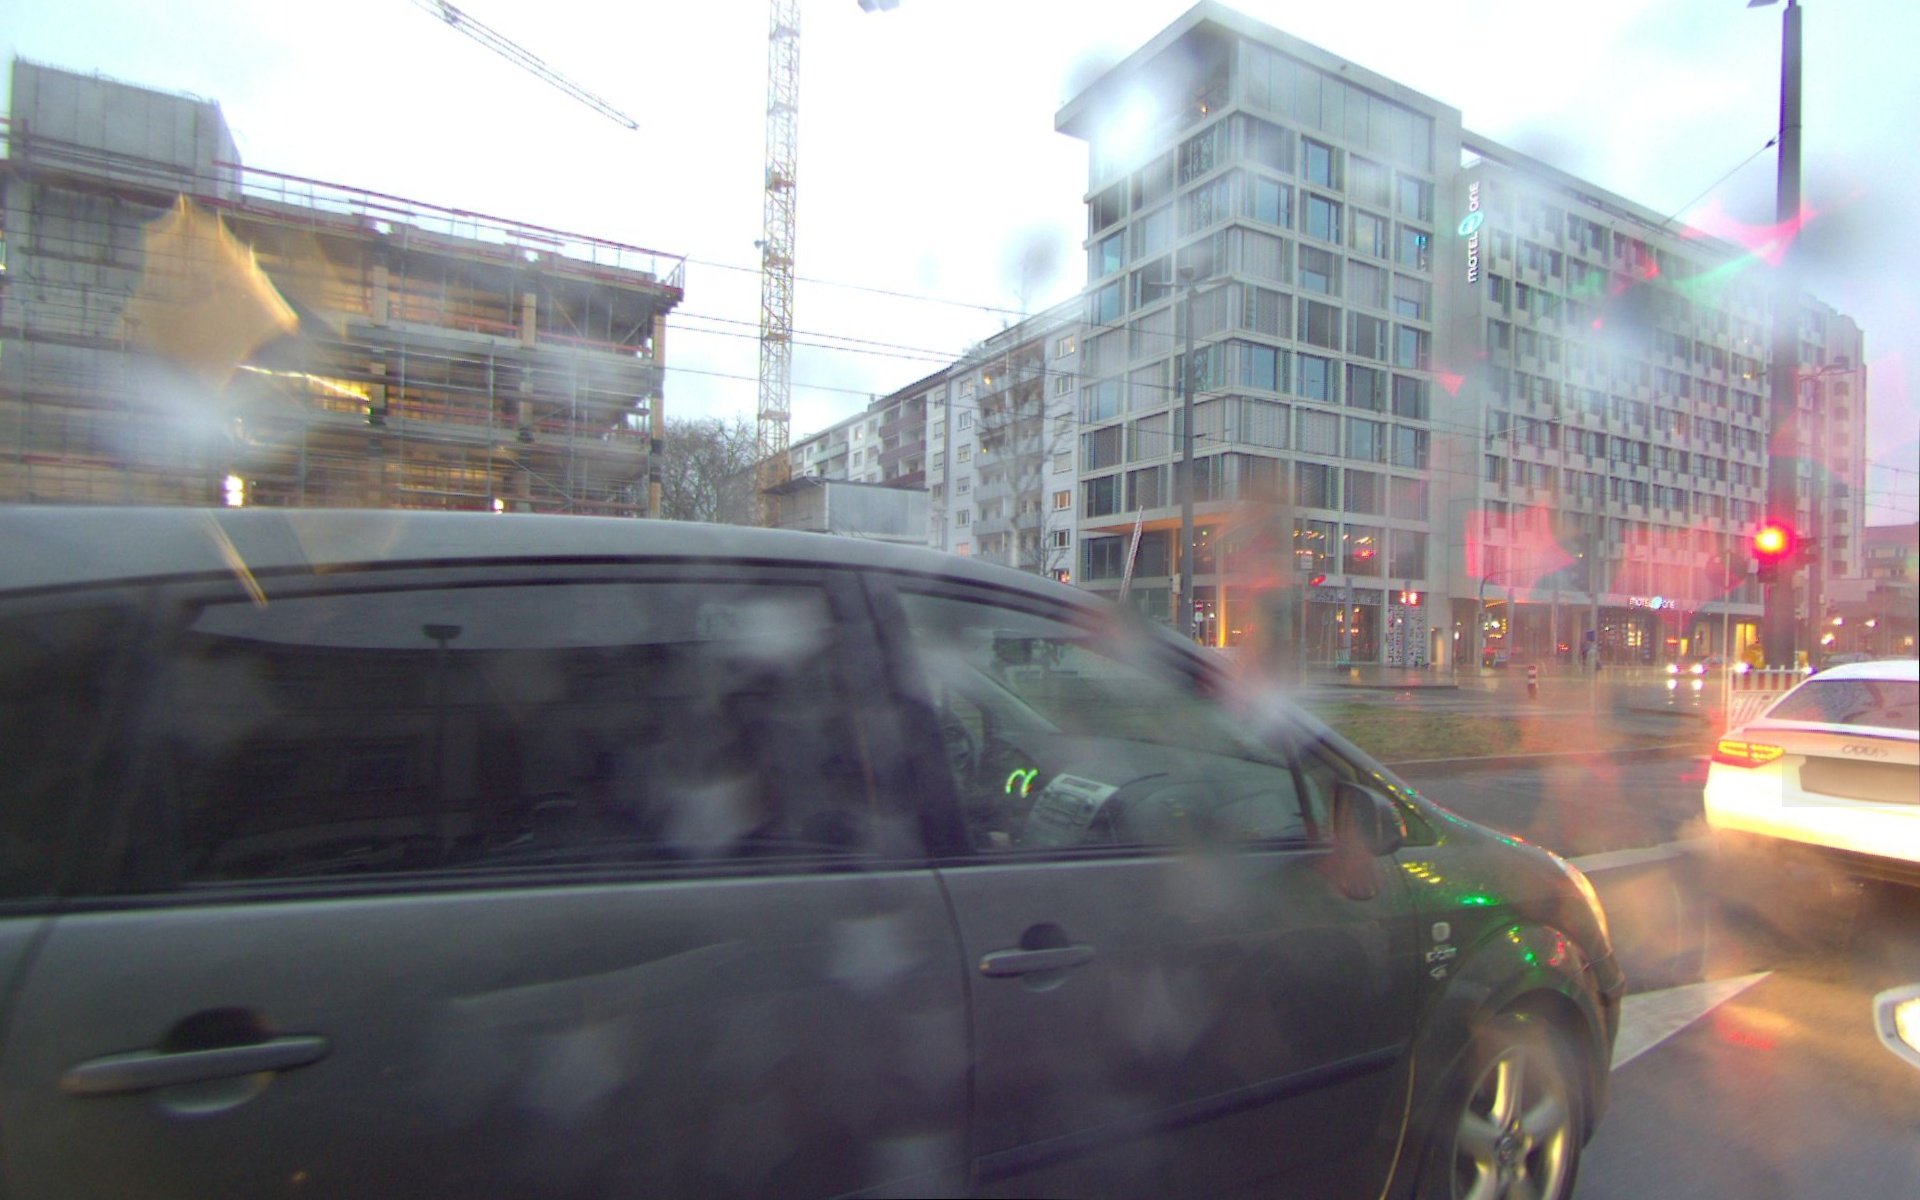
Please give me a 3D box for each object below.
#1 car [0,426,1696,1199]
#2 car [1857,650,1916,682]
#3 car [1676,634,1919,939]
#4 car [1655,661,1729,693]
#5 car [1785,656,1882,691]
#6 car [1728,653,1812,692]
[{"bbox_3d":[-0.198,0.706,2.337,3.957,1.615,1.750,3,-1,-32],"label":"car"},{"bbox_3d":[47.488,3.358,51.454,5.062,1.481,1.974,3,-1,-45],"label":"car"},{"bbox_3d":[6.503,1.045,6.356,4.205,1.489,1.750,3,-1,-32],"label":"car"},{"bbox_3d":[39.931,4.200,54.771,3.955,1.595,1.872,3,-1,-31],"label":"car"},{"bbox_3d":[41.680,3.498,47.920,5.036,1.481,1.984,3,-1,-30],"label":"car"},{"bbox_3d":[41.535,3.705,51.480,4.545,1.813,1.872,3,-1,-30],"label":"car"}]
